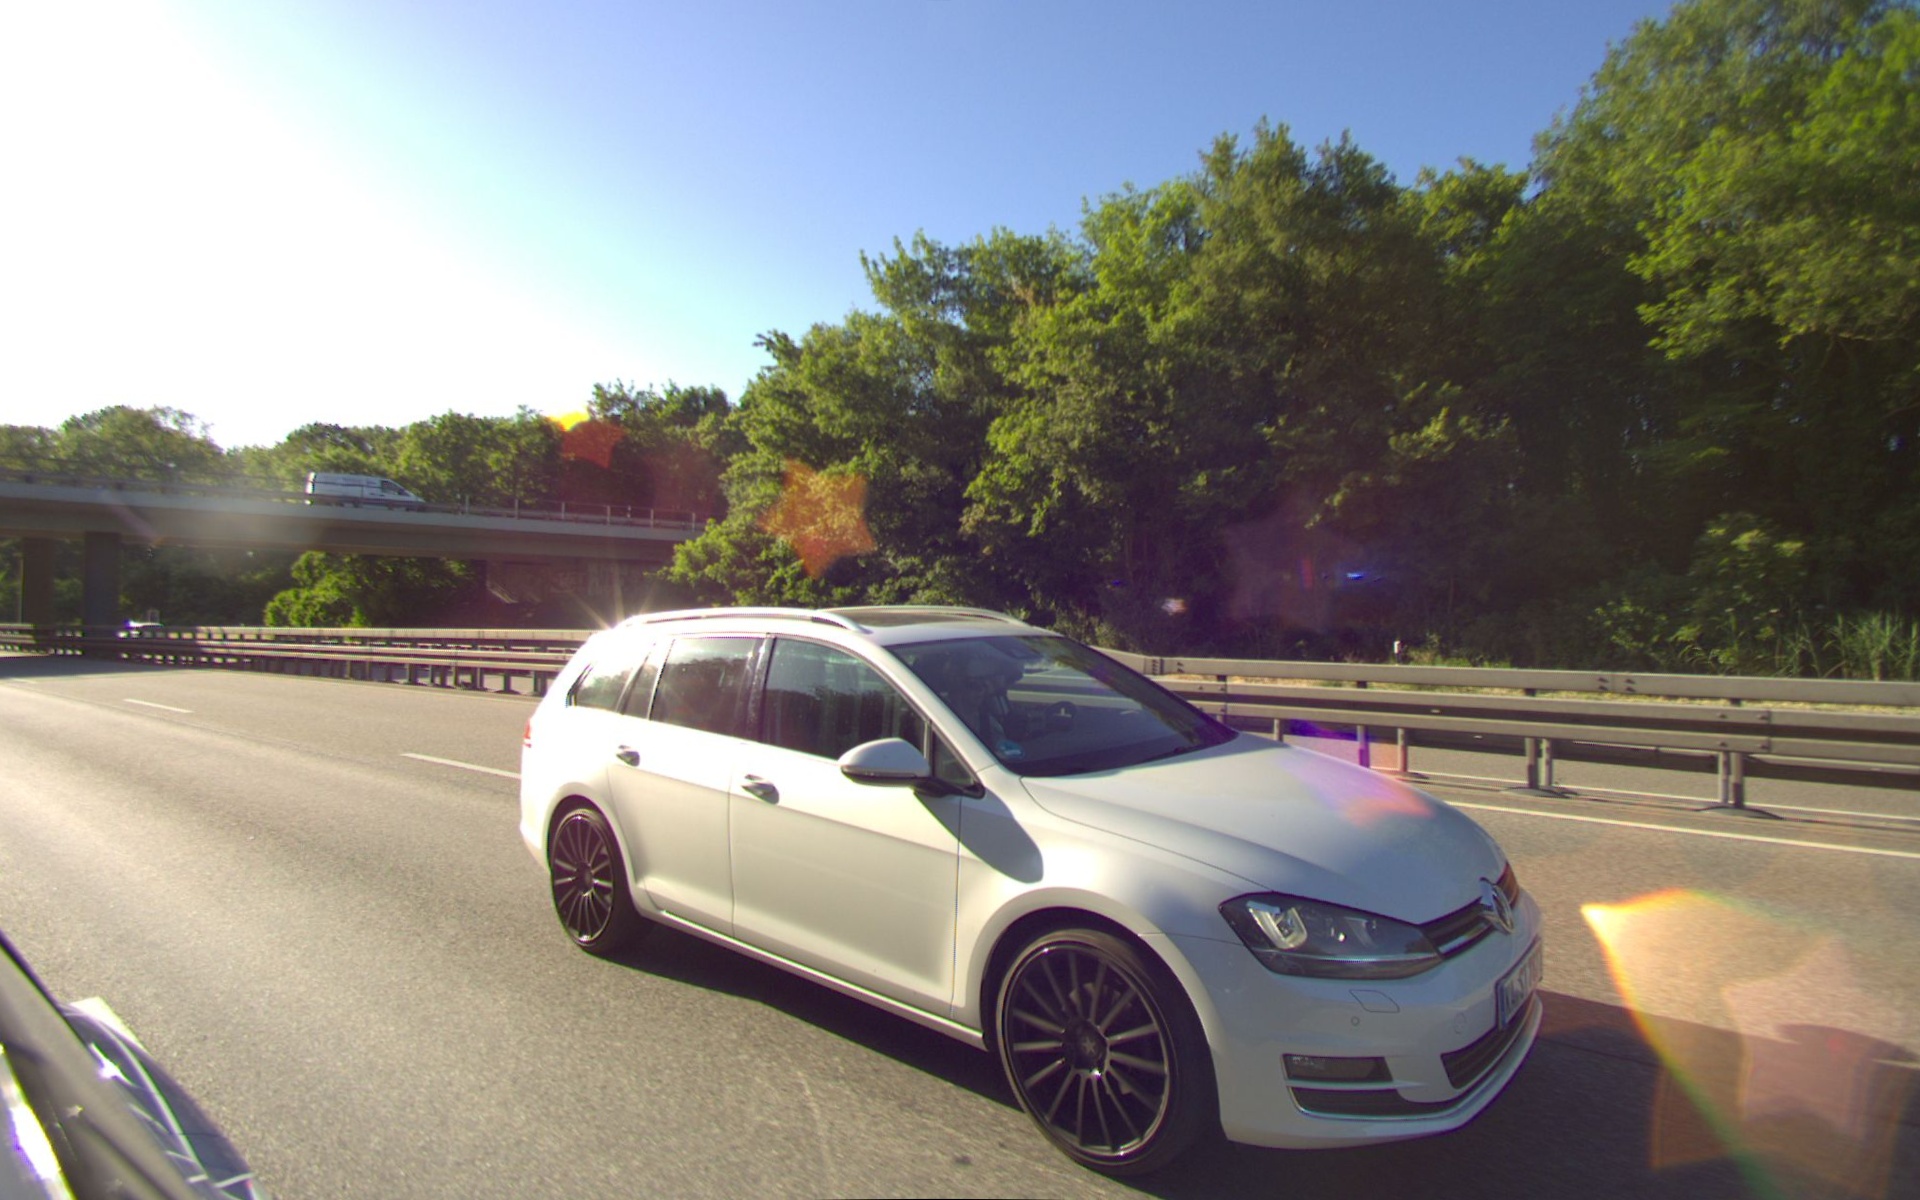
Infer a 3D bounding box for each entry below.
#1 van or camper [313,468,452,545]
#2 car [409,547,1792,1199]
[{"bbox_3d":[-26.884,-4.297,47.234,5.372,3.205,2.004,0,3,-39],"label":"van or camper"},{"bbox_3d":[-0.187,0.714,4.225,5.596,1.519,1.909,-1,-1,41],"label":"car"}]
